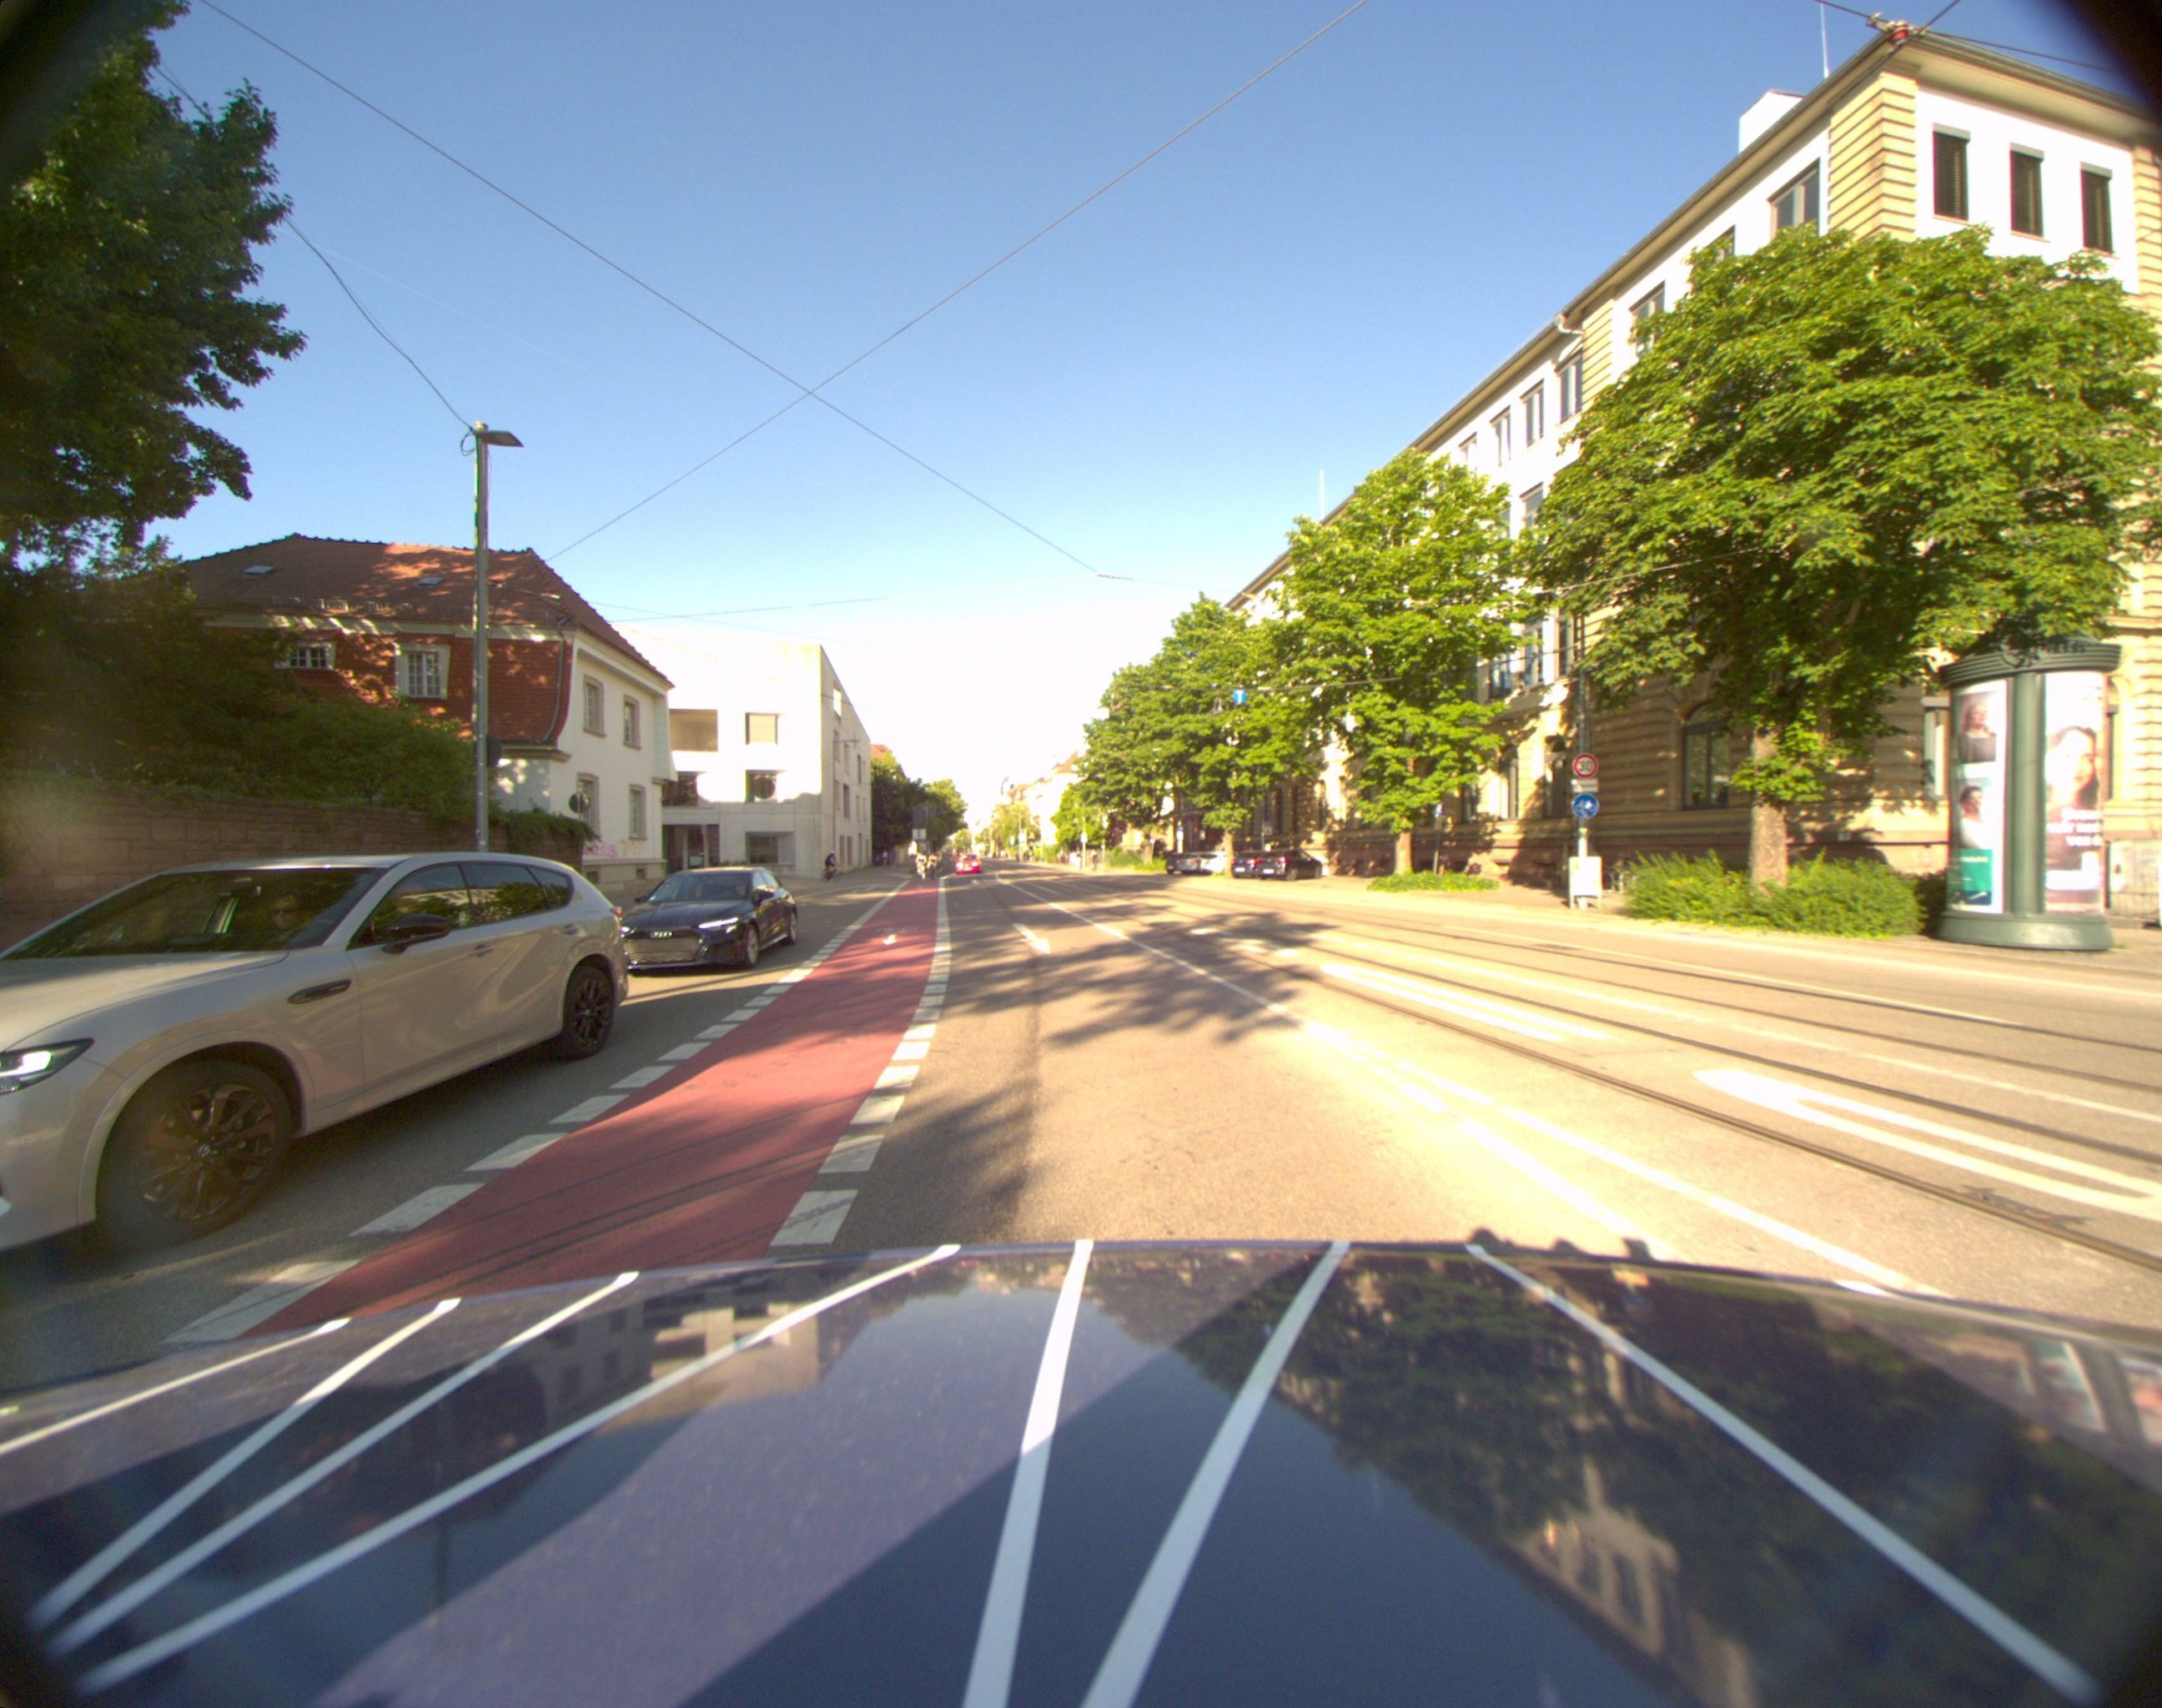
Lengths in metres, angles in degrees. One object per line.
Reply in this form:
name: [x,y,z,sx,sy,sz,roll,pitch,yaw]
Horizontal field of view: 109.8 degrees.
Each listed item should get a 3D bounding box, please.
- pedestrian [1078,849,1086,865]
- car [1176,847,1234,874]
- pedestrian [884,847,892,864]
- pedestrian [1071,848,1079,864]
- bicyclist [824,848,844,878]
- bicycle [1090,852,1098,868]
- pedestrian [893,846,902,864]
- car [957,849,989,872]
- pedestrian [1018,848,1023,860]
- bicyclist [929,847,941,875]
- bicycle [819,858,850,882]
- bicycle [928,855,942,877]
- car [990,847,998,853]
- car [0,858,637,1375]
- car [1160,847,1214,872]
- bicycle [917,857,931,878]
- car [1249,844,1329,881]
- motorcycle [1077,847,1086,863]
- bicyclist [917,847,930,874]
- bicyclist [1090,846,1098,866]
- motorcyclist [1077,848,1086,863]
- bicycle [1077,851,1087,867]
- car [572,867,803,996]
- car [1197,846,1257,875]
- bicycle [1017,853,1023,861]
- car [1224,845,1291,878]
pedestrian: [0.138,0.288,77.918,0.676,1.638,0.817,-1,1,-9]
car: [7.911,0.383,48.363,3.657,1.552,1.645,-3,1,-43]
pedestrian: [-17.879,0.140,70.406,0.676,1.638,0.817,-1,1,-9]
pedestrian: [-0.645,0.164,77.795,0.676,1.638,0.817,-1,1,-9]
bicyclist: [-13.391,0.481,41.168,0.675,1.638,1.029,0,1,5]
bicycle: [1.053,0.494,61.899,0.676,1.243,2.456,0,1,1]
pedestrian: [-17.034,0.125,70.530,0.676,1.638,0.817,-1,1,-9]
car: [-7.697,0.426,54.365,1.649,1.552,3.650,-2,1,1]
pedestrian: [-8.964,-0.012,112.137,0.675,1.638,0.817,-1,1,0]
bicyclist: [-8.667,0.399,45.168,0.676,1.638,1.028,0,1,-8]
bicycle: [-13.382,0.839,41.276,0.675,1.243,2.457,0,1,5]
bicycle: [-8.672,0.719,45.228,0.676,1.243,2.454,0,1,-8]
car: [-23.189,-1.081,202.546,1.650,1.552,3.646,-2,1,-12]
car: [-4.806,0.934,4.476,1.946,1.682,4.529,-2,1,-5]
car: [7.235,0.354,51.774,3.657,1.552,1.645,-3,1,-43]
bicycle: [-9.638,0.796,46.600,0.676,1.243,2.454,0,1,-8]
car: [10.382,0.401,37.757,4.189,1.621,1.841,-3,1,-43]
motorcycle: [0.040,0.086,63.341,0.680,1.285,2.265,-2,1,1]
bicyclist: [-9.632,0.412,46.539,0.676,1.638,1.028,0,1,-8]
bicyclist: [1.054,0.163,61.778,0.675,1.638,1.029,0,1,1]
motorcyclist: [0.075,0.144,63.170,0.676,1.243,0.853,0,1,-5]
bicycle: [0.081,0.390,63.110,0.676,1.243,2.455,0,1,-5]
car: [-5.621,0.995,11.484,1.789,1.425,3.997,-2,1,-8]
car: [8.889,0.382,46.133,3.657,1.552,1.645,-3,1,-43]
bicycle: [-8.955,0.418,112.150,0.676,1.243,2.456,-1,1,1]
car: [9.418,0.384,40.417,3.657,1.552,1.645,-3,1,-43]
